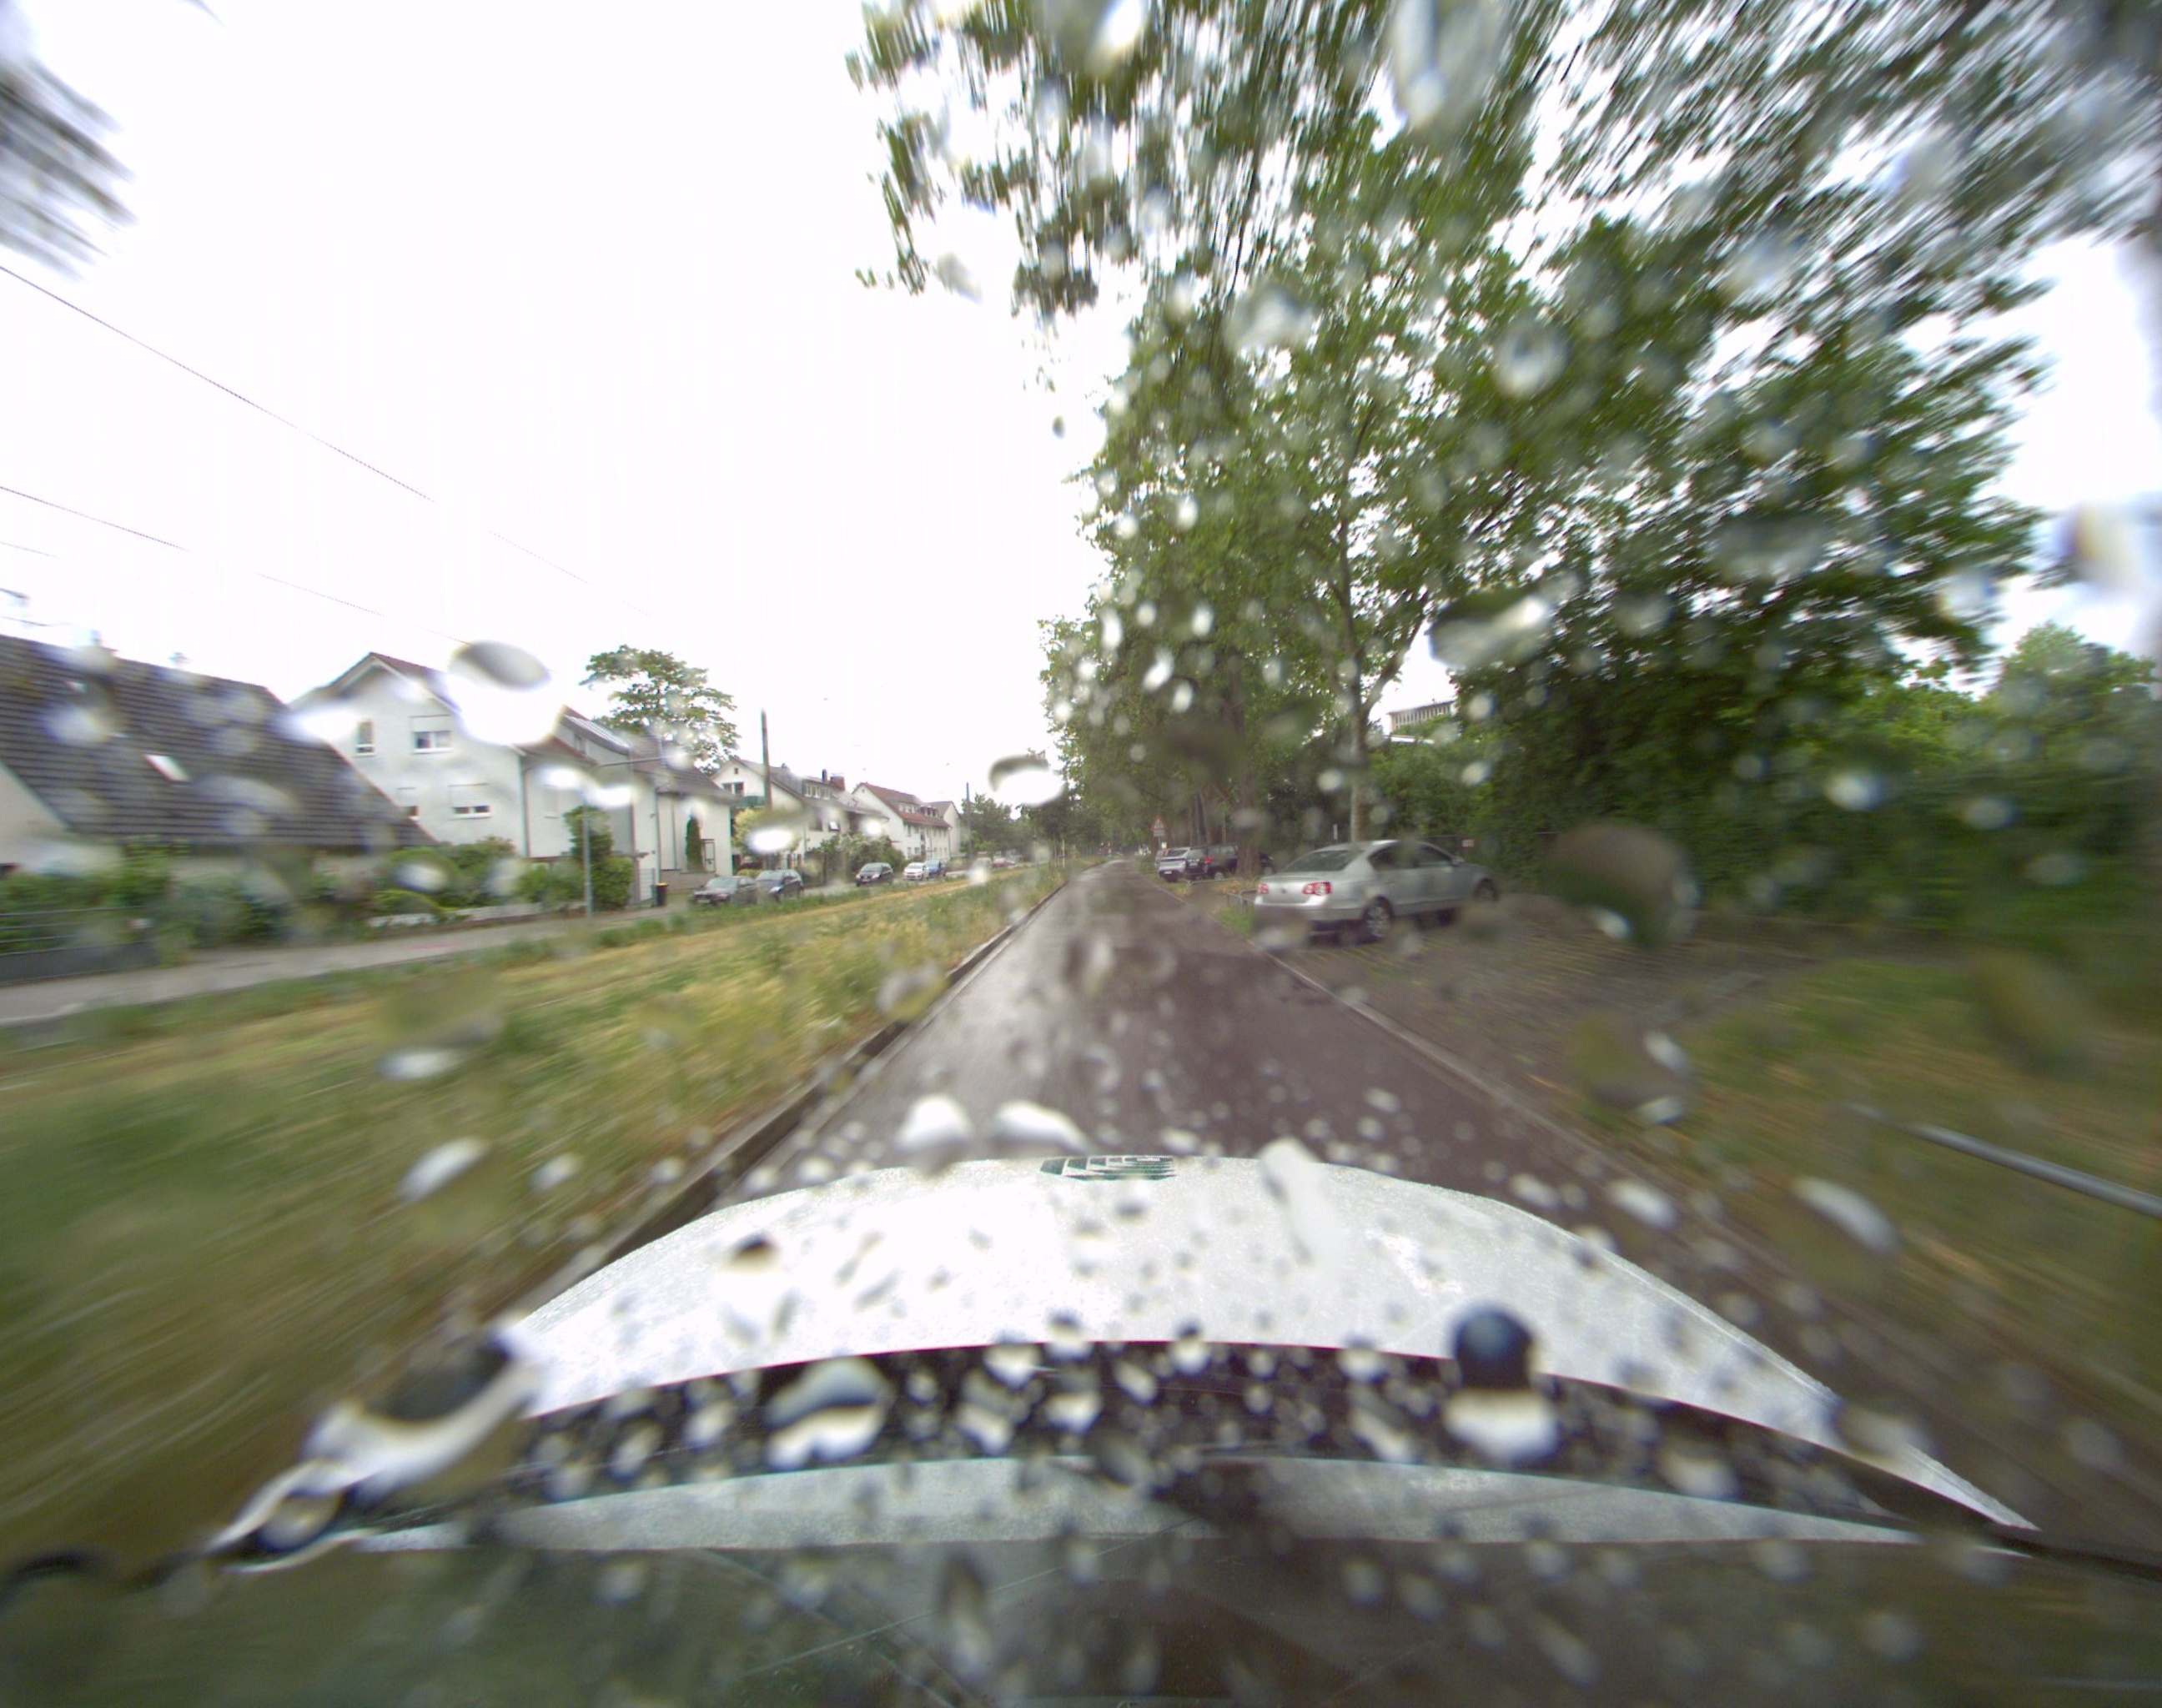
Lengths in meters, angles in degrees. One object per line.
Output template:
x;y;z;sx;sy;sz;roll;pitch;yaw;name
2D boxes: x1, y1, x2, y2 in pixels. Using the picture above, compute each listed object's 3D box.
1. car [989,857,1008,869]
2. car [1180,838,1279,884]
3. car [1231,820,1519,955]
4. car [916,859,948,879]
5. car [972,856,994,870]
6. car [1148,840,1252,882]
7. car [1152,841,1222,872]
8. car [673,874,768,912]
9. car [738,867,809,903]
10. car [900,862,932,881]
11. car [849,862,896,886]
-11.466;1.252;113.304;1.985;1.488;4.209;-1;1;3;car
5.948;0.263;32.550;3.727;1.566;1.603;-4;0;-31;car
4.847;0.436;13.228;4.577;1.544;1.869;-6;2;-31;car
-13.813;1.371;75.711;1.985;1.614;4.416;-1;1;3;car
-11.947;1.116;99.472;1.985;1.581;4.520;-1;1;3;car
5.677;0.308;38.665;4.796;1.668;1.973;-4;0;-35;car
6.448;0.137;49.620;3.859;1.566;1.612;-5;0;-13;car
-15.345;1.609;34.930;1.985;1.350;4.243;-1;1;3;car
-14.985;1.496;39.909;1.867;1.550;3.871;-1;1;1;car
-13.967;1.478;68.965;1.789;1.488;3.600;-1;1;3;car
-14.596;1.346;57.166;1.985;1.516;4.209;-1;1;3;car
